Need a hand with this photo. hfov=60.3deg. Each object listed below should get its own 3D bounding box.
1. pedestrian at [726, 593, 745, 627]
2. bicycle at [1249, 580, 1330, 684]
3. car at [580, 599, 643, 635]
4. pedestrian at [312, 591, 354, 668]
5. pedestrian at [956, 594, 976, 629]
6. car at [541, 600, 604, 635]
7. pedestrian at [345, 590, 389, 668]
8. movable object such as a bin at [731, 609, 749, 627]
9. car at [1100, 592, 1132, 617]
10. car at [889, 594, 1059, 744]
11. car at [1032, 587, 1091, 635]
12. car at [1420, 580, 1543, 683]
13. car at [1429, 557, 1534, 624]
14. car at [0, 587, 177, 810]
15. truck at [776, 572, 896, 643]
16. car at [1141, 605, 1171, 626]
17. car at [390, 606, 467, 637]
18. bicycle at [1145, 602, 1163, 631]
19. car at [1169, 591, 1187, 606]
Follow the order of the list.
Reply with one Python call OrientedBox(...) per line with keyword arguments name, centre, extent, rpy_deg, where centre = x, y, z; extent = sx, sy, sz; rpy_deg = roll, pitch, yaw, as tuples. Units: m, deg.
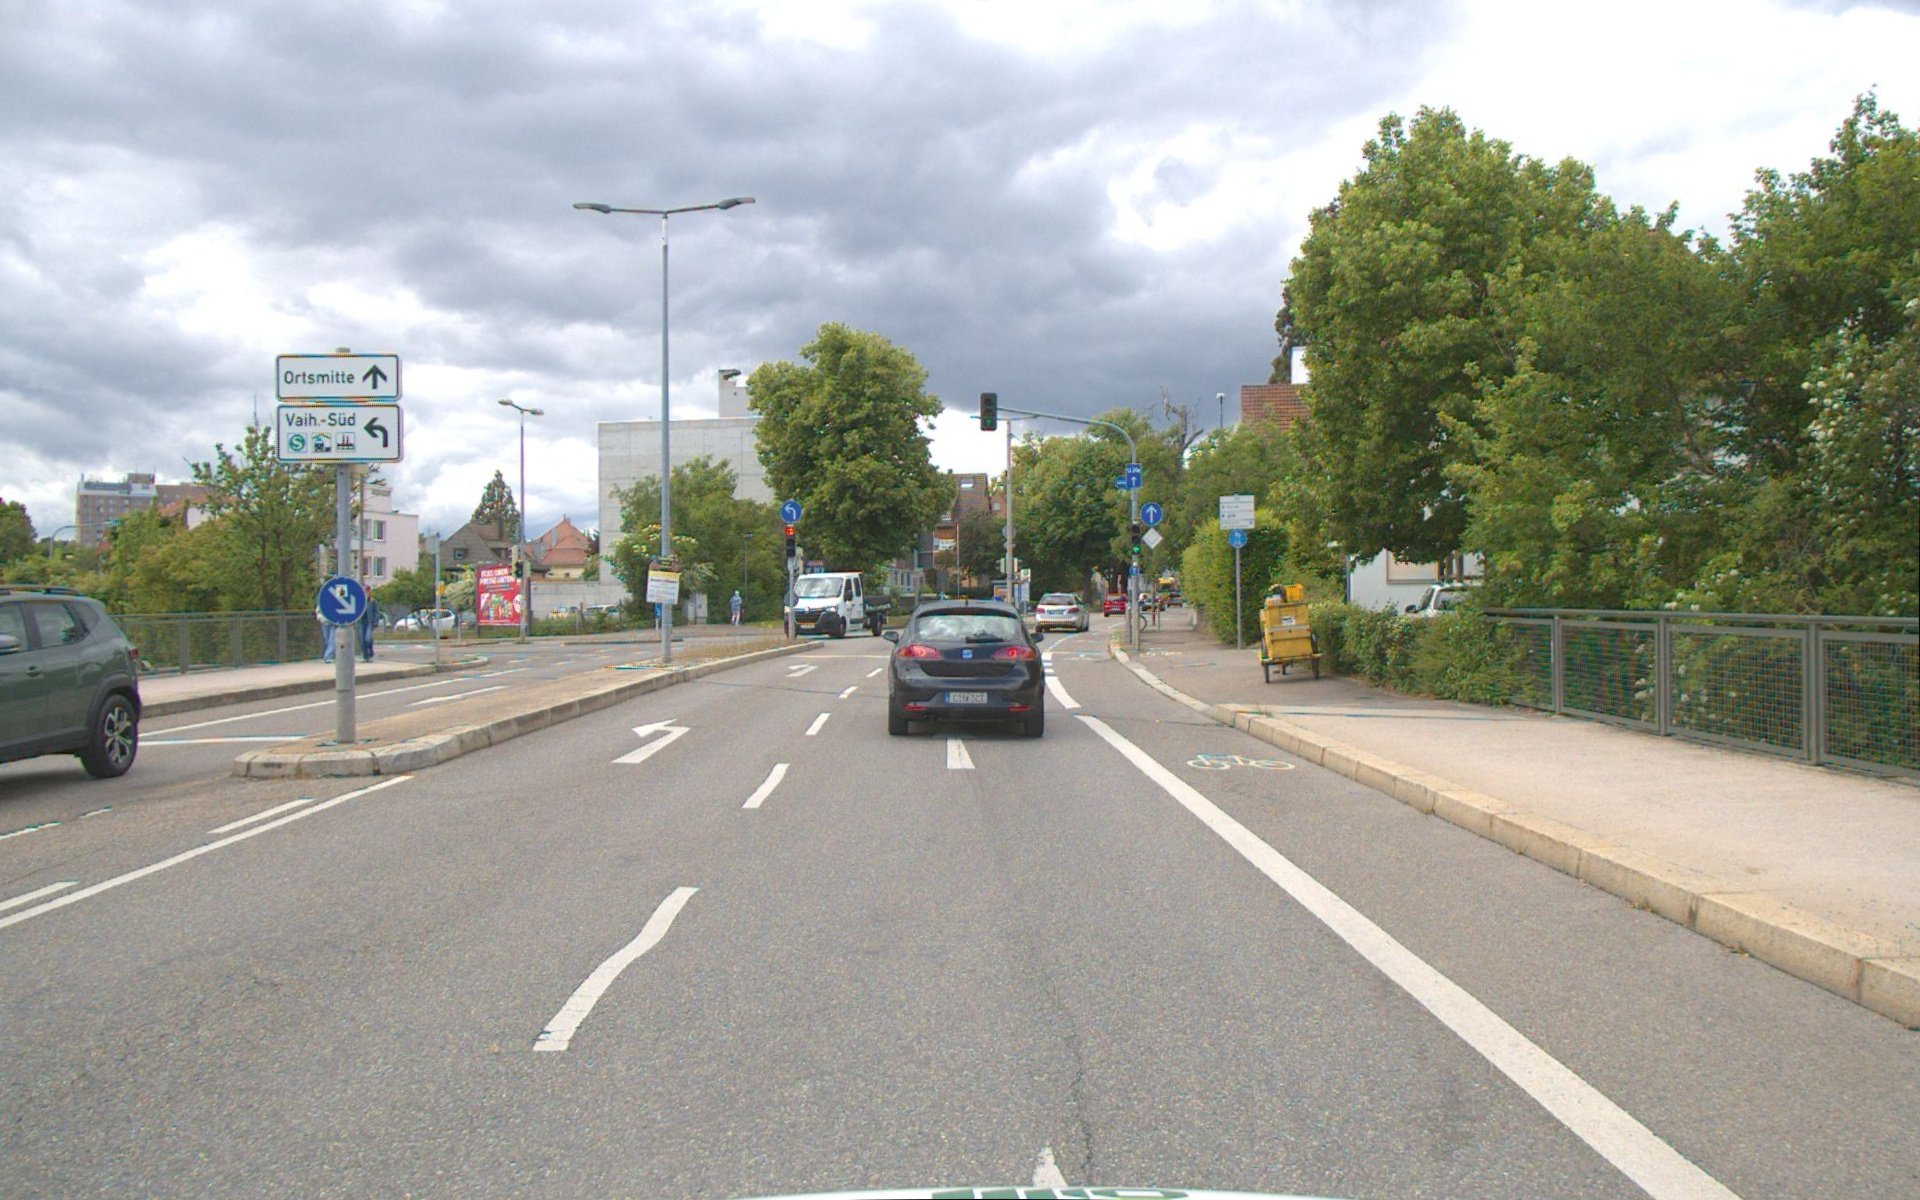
OrientedBox(name="pedestrian", centre=(-10.395, 0.478, 76.740), extent=(0.641, 1.549, 0.924), rpy_deg=(-1, 0, 7))
OrientedBox(name="bicycle", centre=(5.348, 0.481, 27.031), extent=(0.873, 1.536, 2.785), rpy_deg=(-5, 0, 5))
OrientedBox(name="car", centre=(-20.969, 1.012, 99.621), extent=(1.952, 2.049, 4.002), rpy_deg=(2, 0, 18))
OrientedBox(name="pedestrian", centre=(-13.670, 0.637, 36.063), extent=(0.643, 1.662, 0.832), rpy_deg=(0, 0, -7))
OrientedBox(name="pedestrian", centre=(0.255, 0.505, 72.621), extent=(0.758, 1.431, 0.600), rpy_deg=(4, 3, -4))
OrientedBox(name="car", centre=(-23.767, 1.056, 101.543), extent=(1.952, 2.049, 4.002), rpy_deg=(2, 0, 18))
OrientedBox(name="pedestrian", centre=(-12.942, 0.624, 36.115), extent=(0.643, 1.662, 1.069), rpy_deg=(0, 0, -7))
OrientedBox(name="movable object such as a bin", centre=(-10.299, 0.825, 77.424), extent=(0.641, 0.812, 0.898), rpy_deg=(-1, 0, 7))
OrientedBox(name="car", centre=(10.155, 0.304, 107.589), extent=(1.900, 1.507, 4.256), rpy_deg=(-1, 0, 7))
OrientedBox(name="car", centre=(0.230, 0.702, 18.907), extent=(1.722, 1.474, 3.716), rpy_deg=(1, 1, 3))
OrientedBox(name="car", centre=(3.962, 0.382, 64.052), extent=(1.780, 1.729, 4.257), rpy_deg=(-1, 0, 10))
OrientedBox(name="car", centre=(8.748, 0.474, 27.997), extent=(1.634, 1.530, 4.064), rpy_deg=(0, 2, 13))
OrientedBox(name="car", centre=(12.408, -0.212, 39.570), extent=(1.632, 1.475, 4.003), rpy_deg=(-2, 0, 7))
OrientedBox(name="car", centre=(-8.051, 0.758, 12.950), extent=(1.785, 1.655, 4.278), rpy_deg=(-2, 0, 0))
OrientedBox(name="truck", centre=(-4.263, 0.234, 58.372), extent=(2.080, 2.304, 6.811), rpy_deg=(-1, 0, 15))
OrientedBox(name="car", centre=(16.537, 1.285, 139.443), extent=(1.951, 1.713, 4.003), rpy_deg=(-1, 0, 15))
OrientedBox(name="car", centre=(-29.187, 1.173, 90.914), extent=(1.760, 1.581, 3.998), rpy_deg=(-1, 0, 24))
OrientedBox(name="bicycle", centre=(7.198, 0.593, 61.275), extent=(0.614, 1.046, 1.505), rpy_deg=(0, 0, 7))
OrientedBox(name="car", centre=(24.743, -0.139, 187.657), extent=(1.809, 1.624, 4.109), rpy_deg=(-1, 0, 11))
